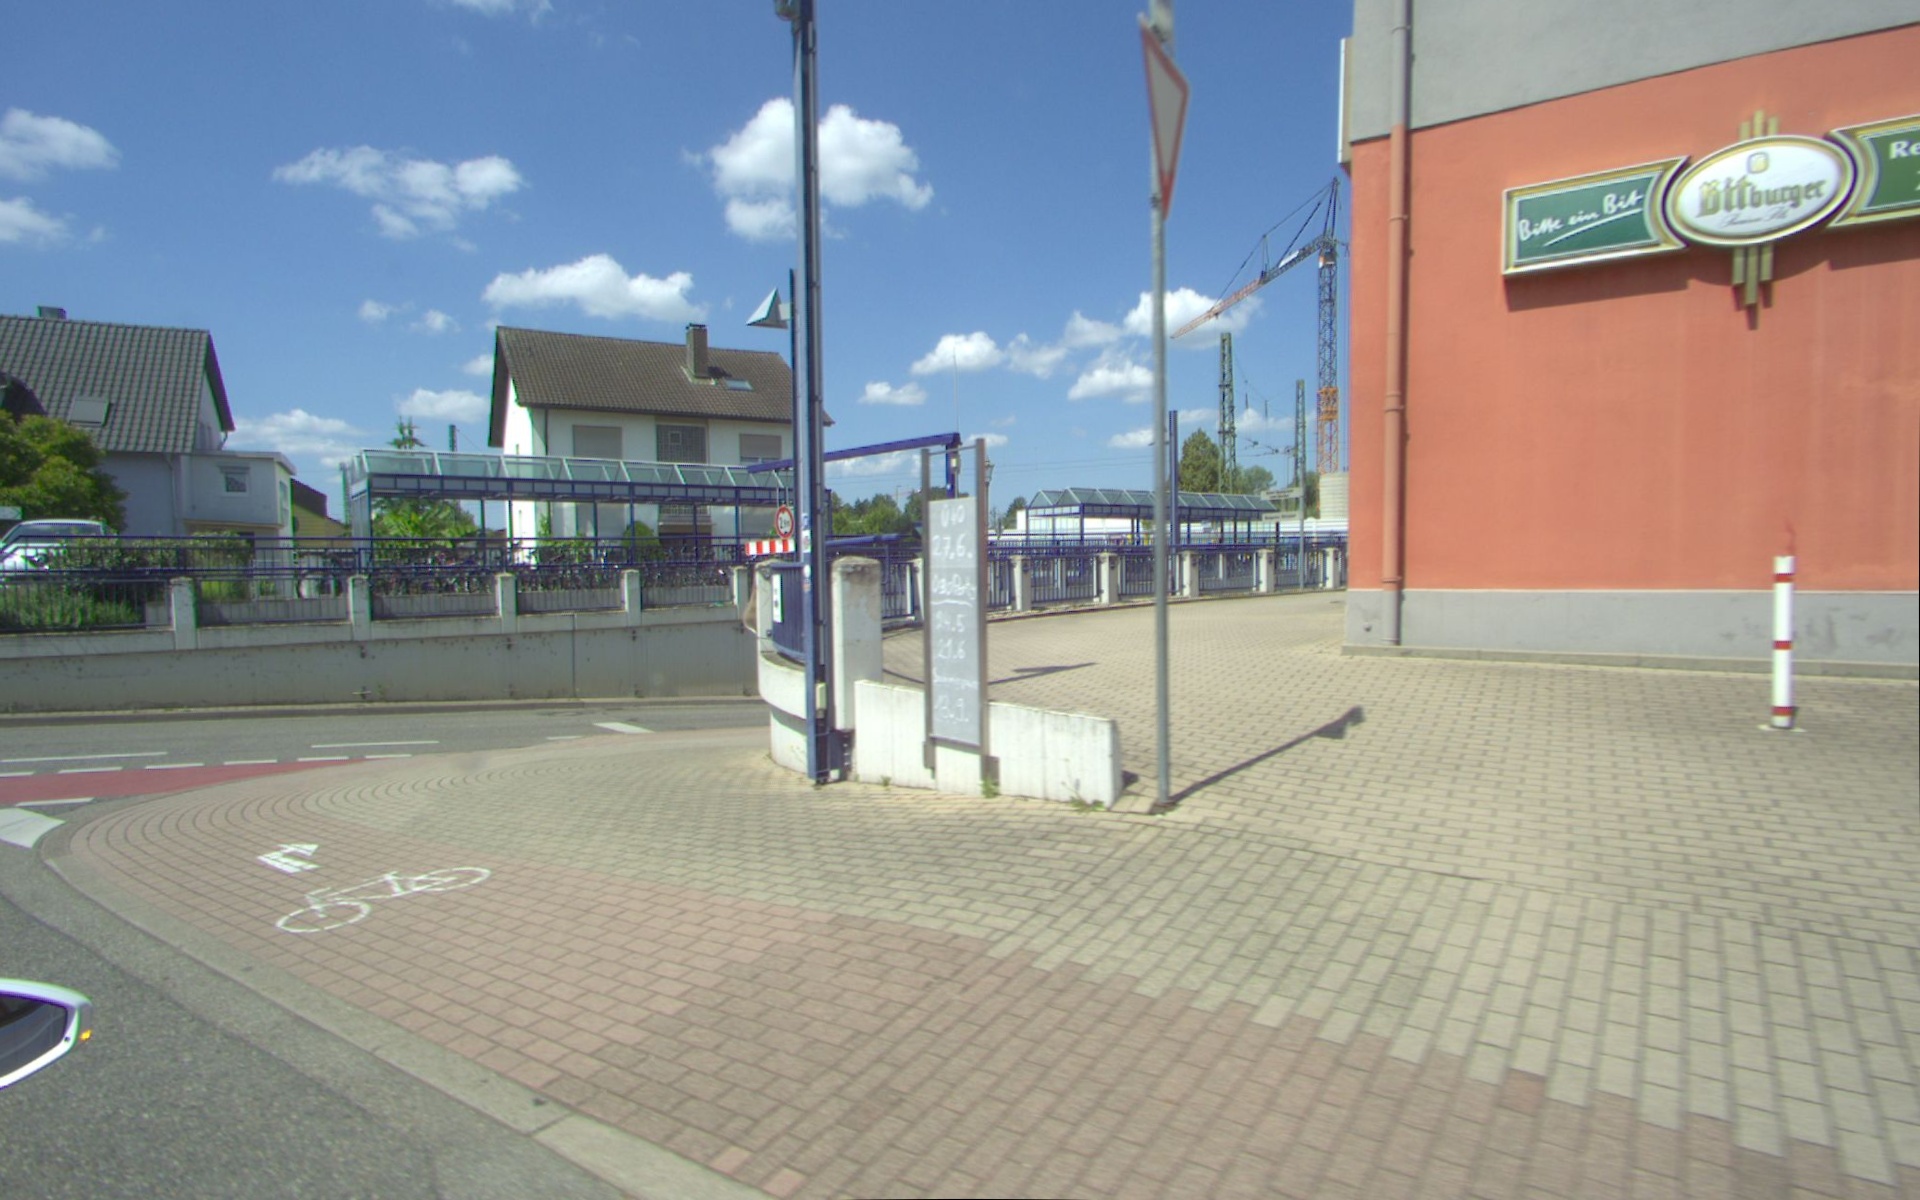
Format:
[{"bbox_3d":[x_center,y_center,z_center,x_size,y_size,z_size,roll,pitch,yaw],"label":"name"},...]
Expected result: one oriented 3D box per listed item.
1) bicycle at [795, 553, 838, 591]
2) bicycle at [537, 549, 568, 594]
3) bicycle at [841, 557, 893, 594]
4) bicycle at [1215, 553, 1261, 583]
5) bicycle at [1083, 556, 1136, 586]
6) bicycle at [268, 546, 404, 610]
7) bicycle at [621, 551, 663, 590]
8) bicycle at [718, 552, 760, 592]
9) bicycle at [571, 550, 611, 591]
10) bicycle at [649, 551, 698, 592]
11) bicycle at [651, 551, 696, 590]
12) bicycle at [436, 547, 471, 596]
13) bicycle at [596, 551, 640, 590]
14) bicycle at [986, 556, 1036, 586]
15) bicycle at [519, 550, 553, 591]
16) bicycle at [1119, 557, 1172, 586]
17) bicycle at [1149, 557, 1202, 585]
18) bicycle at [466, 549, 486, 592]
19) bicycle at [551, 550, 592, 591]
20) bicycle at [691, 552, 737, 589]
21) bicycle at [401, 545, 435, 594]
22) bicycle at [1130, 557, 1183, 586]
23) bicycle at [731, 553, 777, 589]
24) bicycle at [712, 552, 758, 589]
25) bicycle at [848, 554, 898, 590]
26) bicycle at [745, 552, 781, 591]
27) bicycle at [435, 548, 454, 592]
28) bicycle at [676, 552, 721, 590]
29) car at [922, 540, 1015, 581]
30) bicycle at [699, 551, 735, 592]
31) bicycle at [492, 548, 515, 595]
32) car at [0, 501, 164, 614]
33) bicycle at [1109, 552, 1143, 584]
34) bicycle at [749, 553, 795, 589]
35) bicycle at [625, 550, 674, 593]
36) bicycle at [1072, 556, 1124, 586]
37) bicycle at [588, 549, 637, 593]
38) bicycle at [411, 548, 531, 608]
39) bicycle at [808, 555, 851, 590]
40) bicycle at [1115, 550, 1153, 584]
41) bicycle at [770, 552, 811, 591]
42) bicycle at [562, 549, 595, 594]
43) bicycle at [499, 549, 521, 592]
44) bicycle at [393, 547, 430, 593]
[{"bbox_3d":[-3.962,-0.772,27.535,0.537,1.008,2.029,-1,2,-27],"label":"bicycle"},{"bbox_3d":[-9.516,-0.662,23.360,0.430,1.008,2.269,-1,2,-28],"label":"bicycle"},{"bbox_3d":[-2.705,-0.706,28.910,0.432,1.008,2.145,-2,2,-37],"label":"bicycle"},{"bbox_3d":[10.984,-1.261,39.608,0.506,1.174,1.807,-2,2,-39],"label":"bicycle"},{"bbox_3d":[5.201,-1.003,34.981,0.506,1.008,2.008,-2,2,-40],"label":"bicycle"},{"bbox_3d":[-11.507,-0.408,18.527,2.096,1.141,0.330,-1,2,-38],"label":"bicycle"},{"bbox_3d":[-8.521,-0.781,26.788,0.514,1.008,1.788,-2,2,-36],"label":"bicycle"},{"bbox_3d":[-5.806,-0.738,26.266,0.509,1.008,2.028,-1,2,-29],"label":"bicycle"},{"bbox_3d":[-9.536,-0.756,25.841,0.410,1.008,1.950,-2,2,-36],"label":"bicycle"},{"bbox_3d":[-7.282,-0.714,25.376,0.527,1.008,2.173,-1,2,-34],"label":"bicycle"},{"bbox_3d":[-7.728,-0.786,26.958,0.514,1.008,1.950,-2,2,-36],"label":"bicycle"},{"bbox_3d":[-11.000,-0.621,21.779,0.429,1.008,2.095,-1,2,-20],"label":"bicycle"},{"bbox_3d":[-8.984,-0.768,26.288,0.514,1.008,1.950,-2,2,-36],"label":"bicycle"},{"bbox_3d":[1.749,-0.991,34.722,0.506,1.008,2.008,-2,2,-40],"label":"bicycle"},{"bbox_3d":[-10.677,-0.738,25.181,0.422,1.008,1.952,-1,2,-33],"label":"bicycle"},{"bbox_3d":[6.635,-1.026,35.875,0.506,1.008,2.008,-2,2,-40],"label":"bicycle"},{"bbox_3d":[7.917,-1.051,36.815,0.506,1.008,2.008,-2,2,-40],"label":"bicycle"},{"bbox_3d":[-11.800,-0.718,24.420,0.368,1.008,1.956,-1,2,-27],"label":"bicycle"},{"bbox_3d":[-9.924,-0.749,25.569,0.469,1.008,1.950,-2,2,-36],"label":"bicycle"},{"bbox_3d":[-6.892,-0.813,27.998,0.514,1.008,1.950,-2,2,-36],"label":"bicycle"},{"bbox_3d":[-11.791,-0.652,21.746,0.329,1.008,2.059,-2,2,-37],"label":"bicycle"},{"bbox_3d":[7.094,-1.036,36.247,0.506,1.008,2.008,-2,2,-40],"label":"bicycle"},{"bbox_3d":[-5.896,-0.830,28.653,0.514,1.008,1.950,-2,2,-36],"label":"bicycle"},{"bbox_3d":[-6.381,-0.822,28.328,0.514,1.008,1.950,-2,2,-36],"label":"bicycle"},{"bbox_3d":[-2.526,-0.805,28.817,0.538,1.008,2.025,-1,2,-33],"label":"bicycle"},{"bbox_3d":[-5.270,-0.750,26.711,0.509,1.008,2.031,-1,2,-24],"label":"bicycle"},{"bbox_3d":[-12.183,-0.699,23.655,0.368,1.008,1.956,-1,2,-27],"label":"bicycle"},{"bbox_3d":[-7.188,-0.799,27.455,0.514,1.008,1.950,-2,2,-36],"label":"bicycle"},{"bbox_3d":[0.330,-1.707,43.876,1.978,1.700,3.964,-2,2,-40],"label":"car"},{"bbox_3d":[-6.219,-0.720,25.549,0.571,1.008,2.180,-1,2,-23],"label":"bicycle"},{"bbox_3d":[-10.274,-0.640,22.514,0.430,1.008,2.093,-1,2,-25],"label":"bicycle"},{"bbox_3d":[-16.686,-0.689,18.931,1.973,1.820,4.174,2,-2,-31],"label":"car"},{"bbox_3d":[6.323,-1.222,38.276,0.381,1.174,1.593,-1,2,-28],"label":"bicycle"},{"bbox_3d":[-5.459,-0.839,28.980,0.514,1.008,1.950,-2,2,-36],"label":"bicycle"},{"bbox_3d":[-7.702,-0.699,24.785,0.527,1.008,2.173,-1,2,-34],"label":"bicycle"},{"bbox_3d":[4.741,-0.992,34.574,0.433,1.008,2.008,-2,2,-40],"label":"bicycle"},{"bbox_3d":[-8.368,-0.680,24.052,0.527,1.008,2.265,-1,2,-34],"label":"bicycle"},{"bbox_3d":[-9.706,-0.445,19.937,2.096,1.141,0.389,-1,2,-38],"label":"bicycle"},{"bbox_3d":[-3.909,-0.831,29.967,0.537,1.008,2.027,-1,2,-30],"label":"bicycle"},{"bbox_3d":[6.112,-1.146,35.199,0.423,1.174,1.593,-1,2,-28],"label":"bicycle"},{"bbox_3d":[-4.589,-0.758,27.018,0.509,1.008,2.029,-1,2,-27],"label":"bicycle"},{"bbox_3d":[-9.035,-0.670,23.679,0.430,1.008,2.269,-1,2,-28],"label":"bicycle"},{"bbox_3d":[-11.103,-0.726,24.684,0.368,1.008,1.956,-1,2,-27],"label":"bicycle"},{"bbox_3d":[-12.660,-0.685,23.139,0.449,1.008,1.882,-1,2,-20],"label":"bicycle"}]
